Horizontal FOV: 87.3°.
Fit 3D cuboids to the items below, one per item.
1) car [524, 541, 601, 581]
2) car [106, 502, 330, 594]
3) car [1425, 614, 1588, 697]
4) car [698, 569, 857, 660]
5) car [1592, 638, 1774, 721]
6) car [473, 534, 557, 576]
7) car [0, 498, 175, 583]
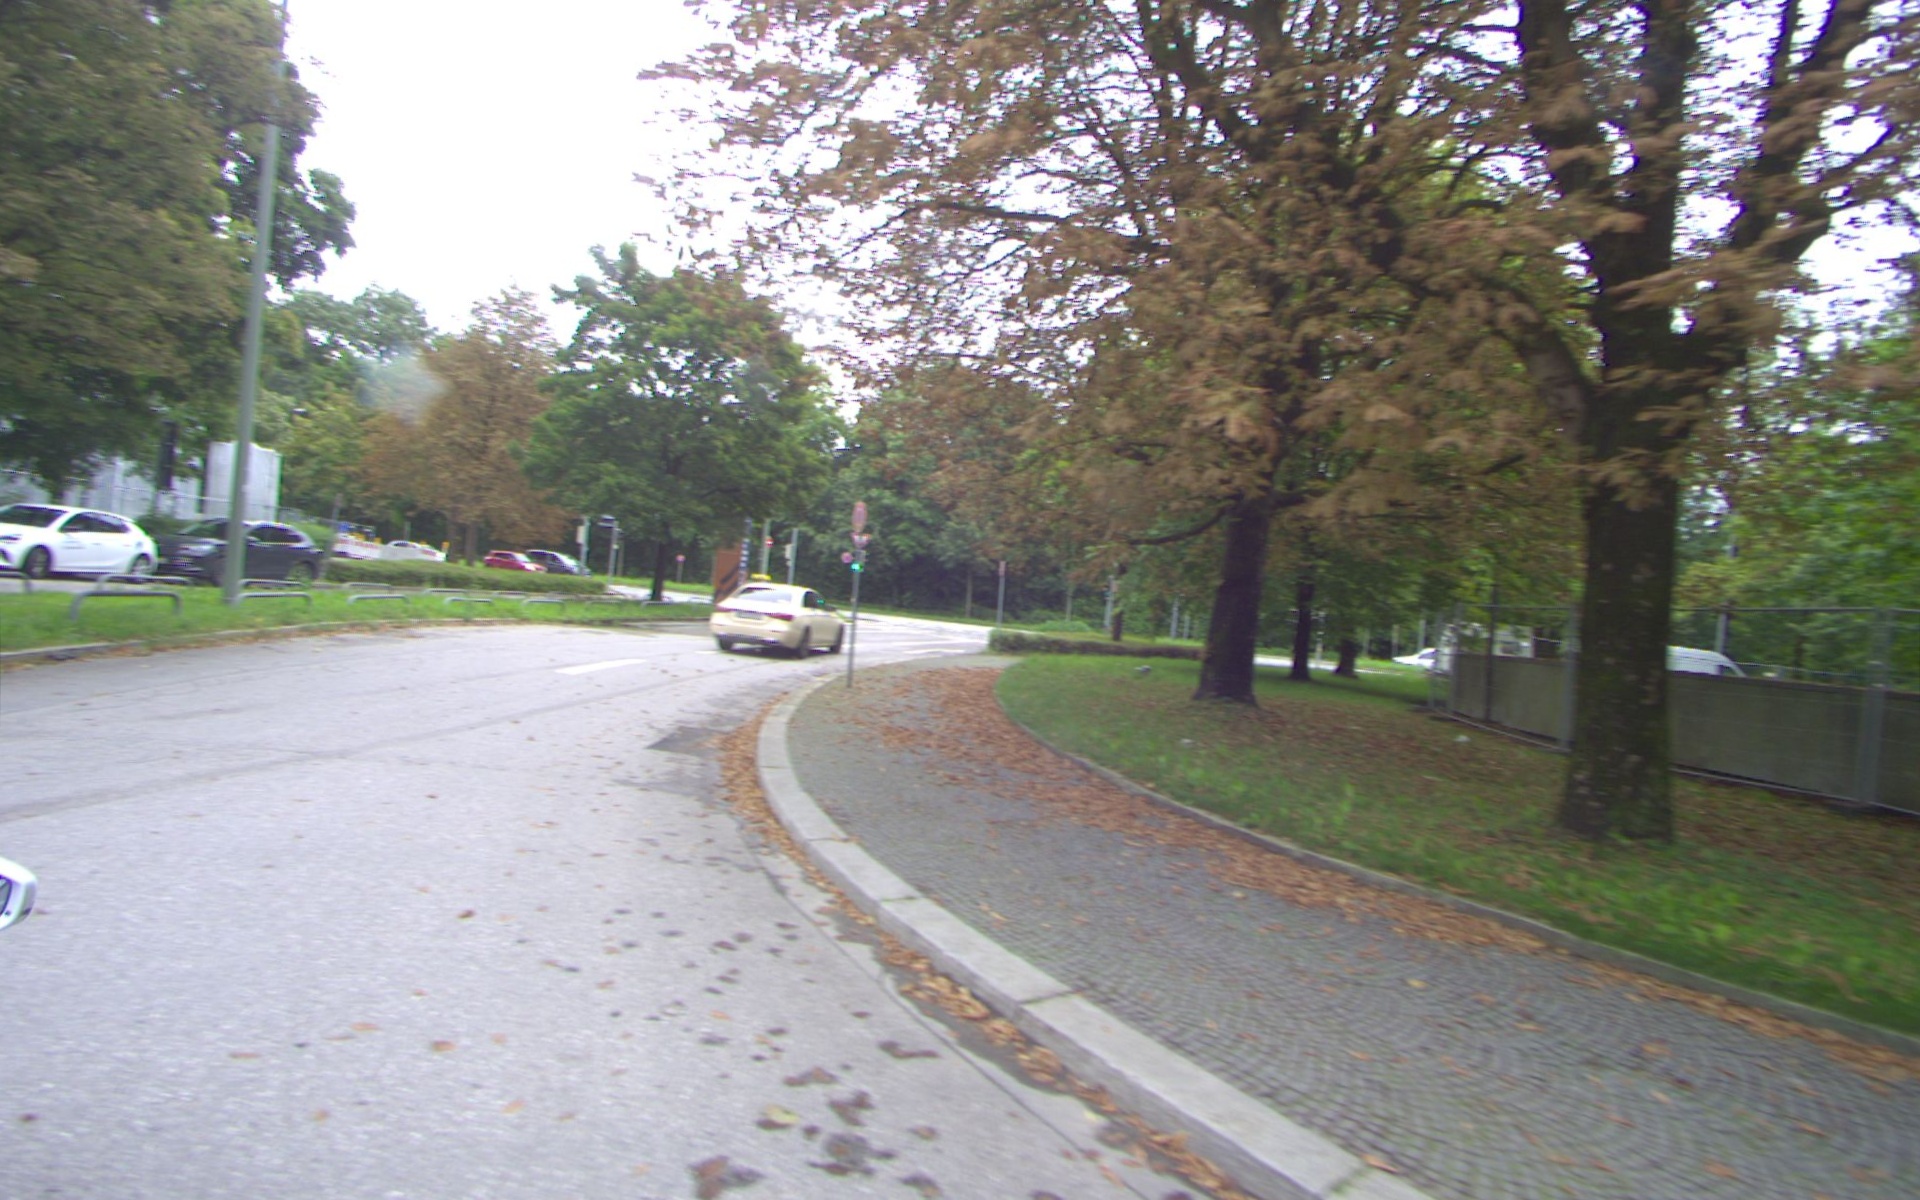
[{"bbox_3d":[-25.090,-2.469,63.611,3.923,2.039,2.001,6,0,12],"label":"car"},{"bbox_3d":[-17.690,-1.152,24.309,1.856,1.625,4.400,6,-2,4],"label":"car"},{"bbox_3d":[22.888,2.298,42.427,5.491,2.769,2.076,6,1,17],"label":"car"},{"bbox_3d":[-3.794,0.327,21.866,1.857,1.564,4.856,6,0,8],"label":"car"},{"bbox_3d":[29.192,3.162,40.843,5.355,2.613,2.076,6,1,17],"label":"car"},{"bbox_3d":[-26.880,-2.714,60.841,4.078,2.039,2.001,6,0,12],"label":"car"},{"bbox_3d":[-17.871,-1.161,19.752,1.769,1.400,4.215,6,-1,-5],"label":"car"}]
